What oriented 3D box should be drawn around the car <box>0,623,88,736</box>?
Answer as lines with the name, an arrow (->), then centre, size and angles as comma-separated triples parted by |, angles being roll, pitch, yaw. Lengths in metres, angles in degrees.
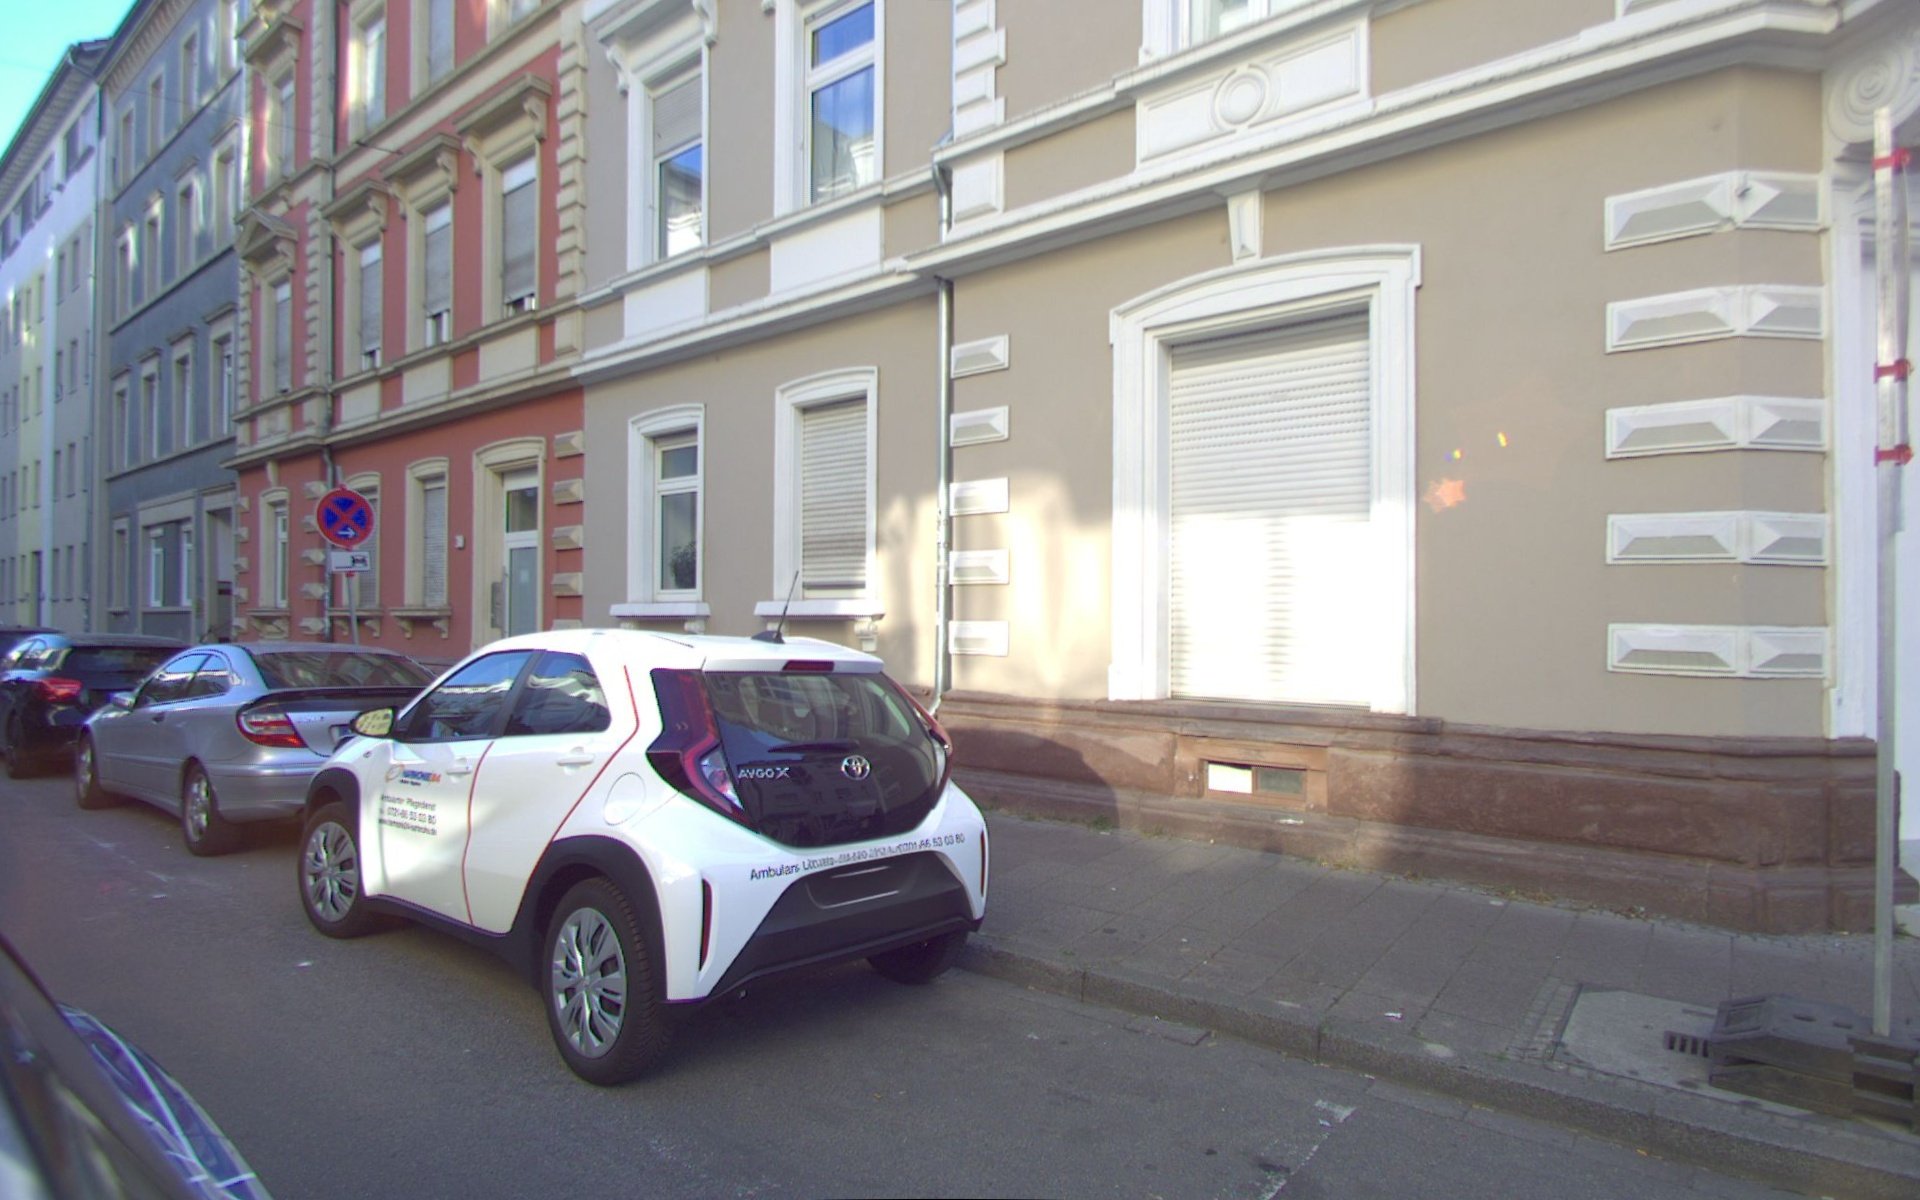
car -> -14.505, 1.097, 14.994 | 4.189, 1.510, 1.519 | -1, -3, 37

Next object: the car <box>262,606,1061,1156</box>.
car -> -1.607, 0.855, 4.707 | 3.841, 1.507, 1.667 | -1, -5, 40

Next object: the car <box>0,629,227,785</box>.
car -> -9.719, 1.083, 11.175 | 3.907, 1.426, 1.569 | -1, -5, 39

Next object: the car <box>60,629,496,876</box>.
car -> -5.449, 0.994, 7.916 | 3.956, 1.439, 1.594 | -1, -4, 37

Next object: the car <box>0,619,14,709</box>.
car -> -18.441, 1.111, 18.086 | 4.423, 1.534, 1.578 | -1, -1, 38
